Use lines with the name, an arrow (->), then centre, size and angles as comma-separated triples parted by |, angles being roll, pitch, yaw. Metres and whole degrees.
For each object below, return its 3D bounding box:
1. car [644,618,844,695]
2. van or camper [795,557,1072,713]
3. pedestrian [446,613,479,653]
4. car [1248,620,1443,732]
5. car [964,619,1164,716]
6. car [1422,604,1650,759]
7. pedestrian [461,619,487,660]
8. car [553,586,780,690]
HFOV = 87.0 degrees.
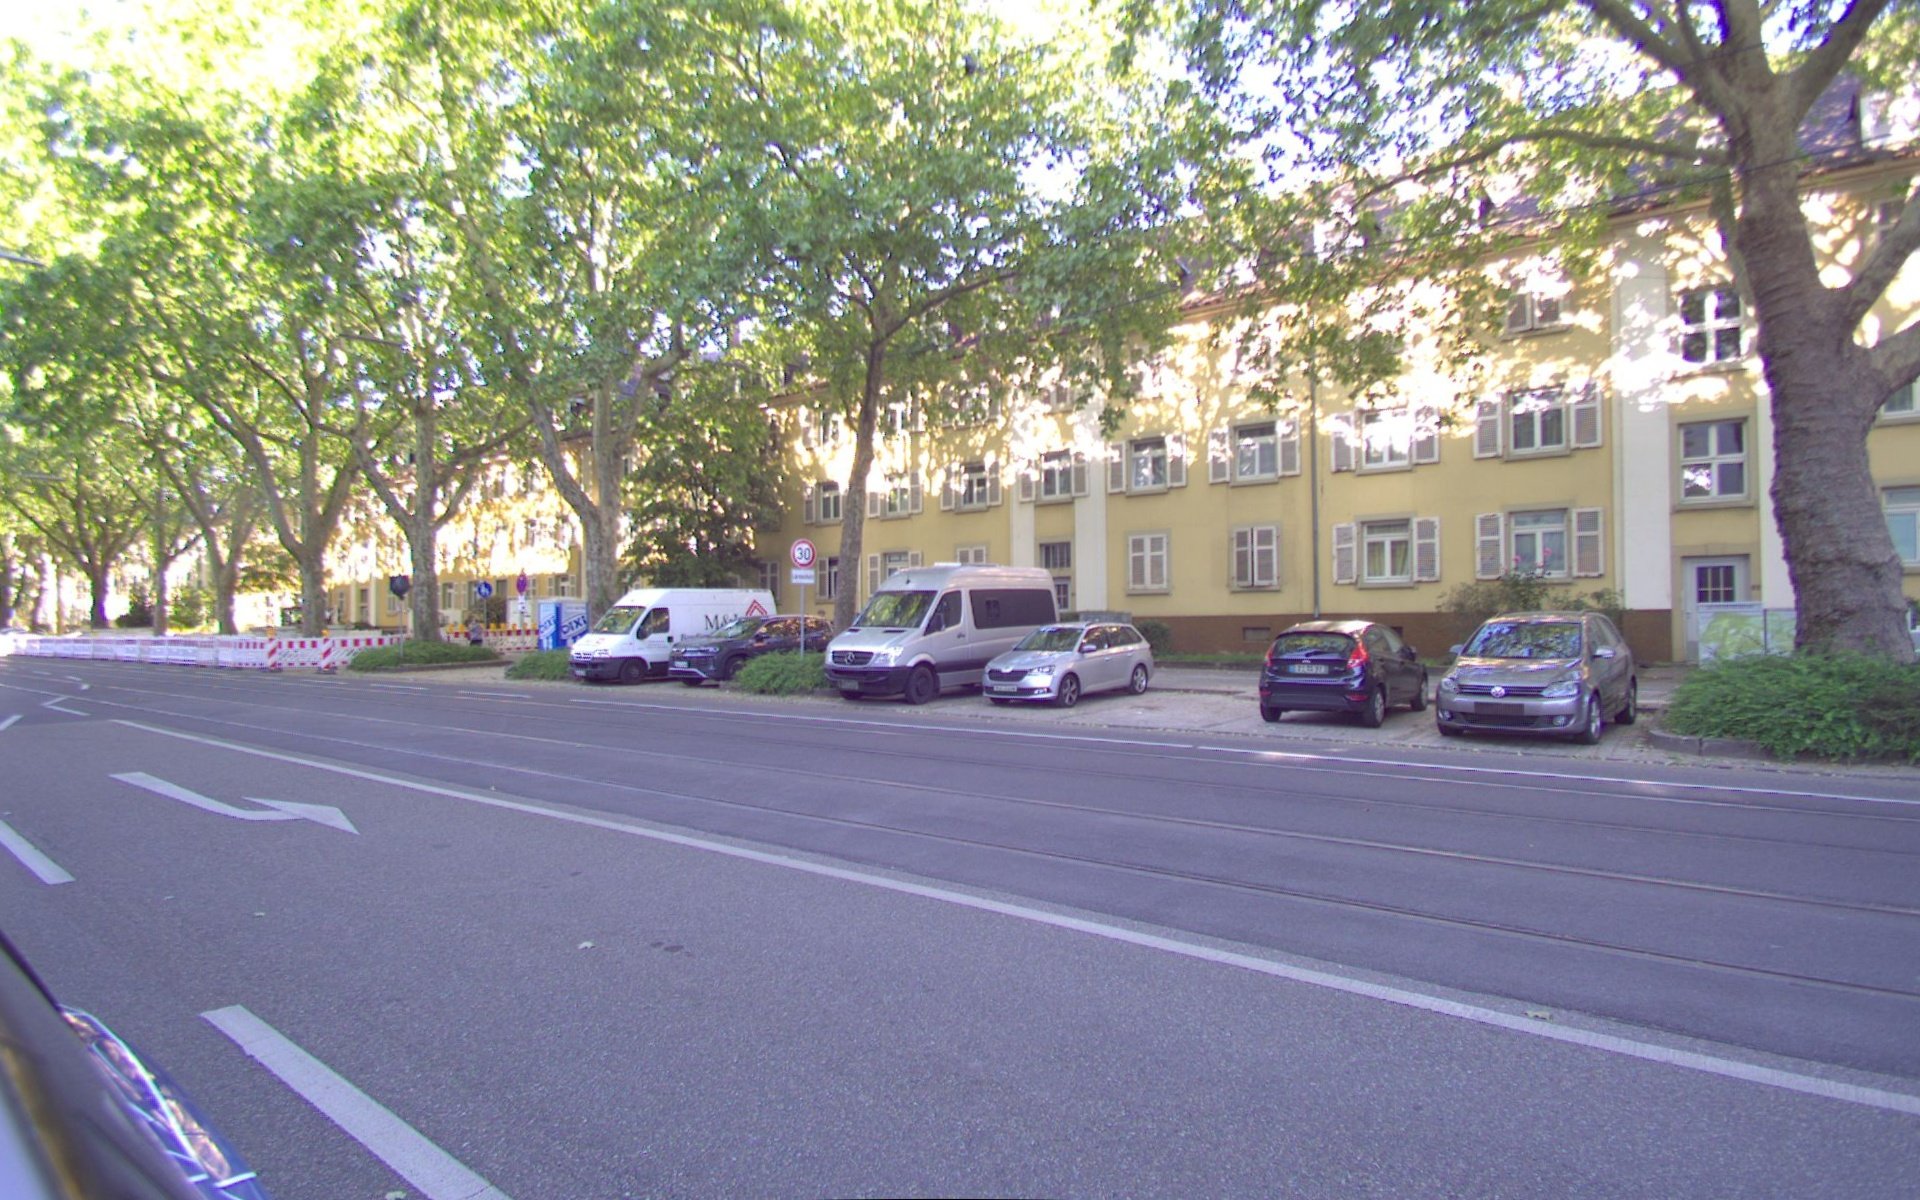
car -> -5.088, 1.279, 24.362 | 1.967, 1.643, 4.520 | -2, -2, 38
van or camper -> -0.313, 0.617, 20.485 | 2.227, 2.697, 6.052 | -2, -1, 38
pedestrian -> -25.613, 1.679, 52.102 | 1.233, 2.029, 1.085 | -2, -2, 36
car -> 5.909, 1.052, 15.323 | 1.740, 1.440, 3.528 | -2, -1, 39
car -> 2.040, 1.162, 18.900 | 1.729, 1.481, 4.102 | 0, 1, 40
car -> 7.740, 0.930, 13.409 | 1.814, 1.617, 4.145 | -2, 0, 41
pedestrian -> -18.771, 1.518, 39.072 | 0.713, 1.585, 0.591 | -1, -2, 25
car -> -7.442, 0.953, 26.281 | 2.023, 2.394, 5.543 | -2, -2, 38
